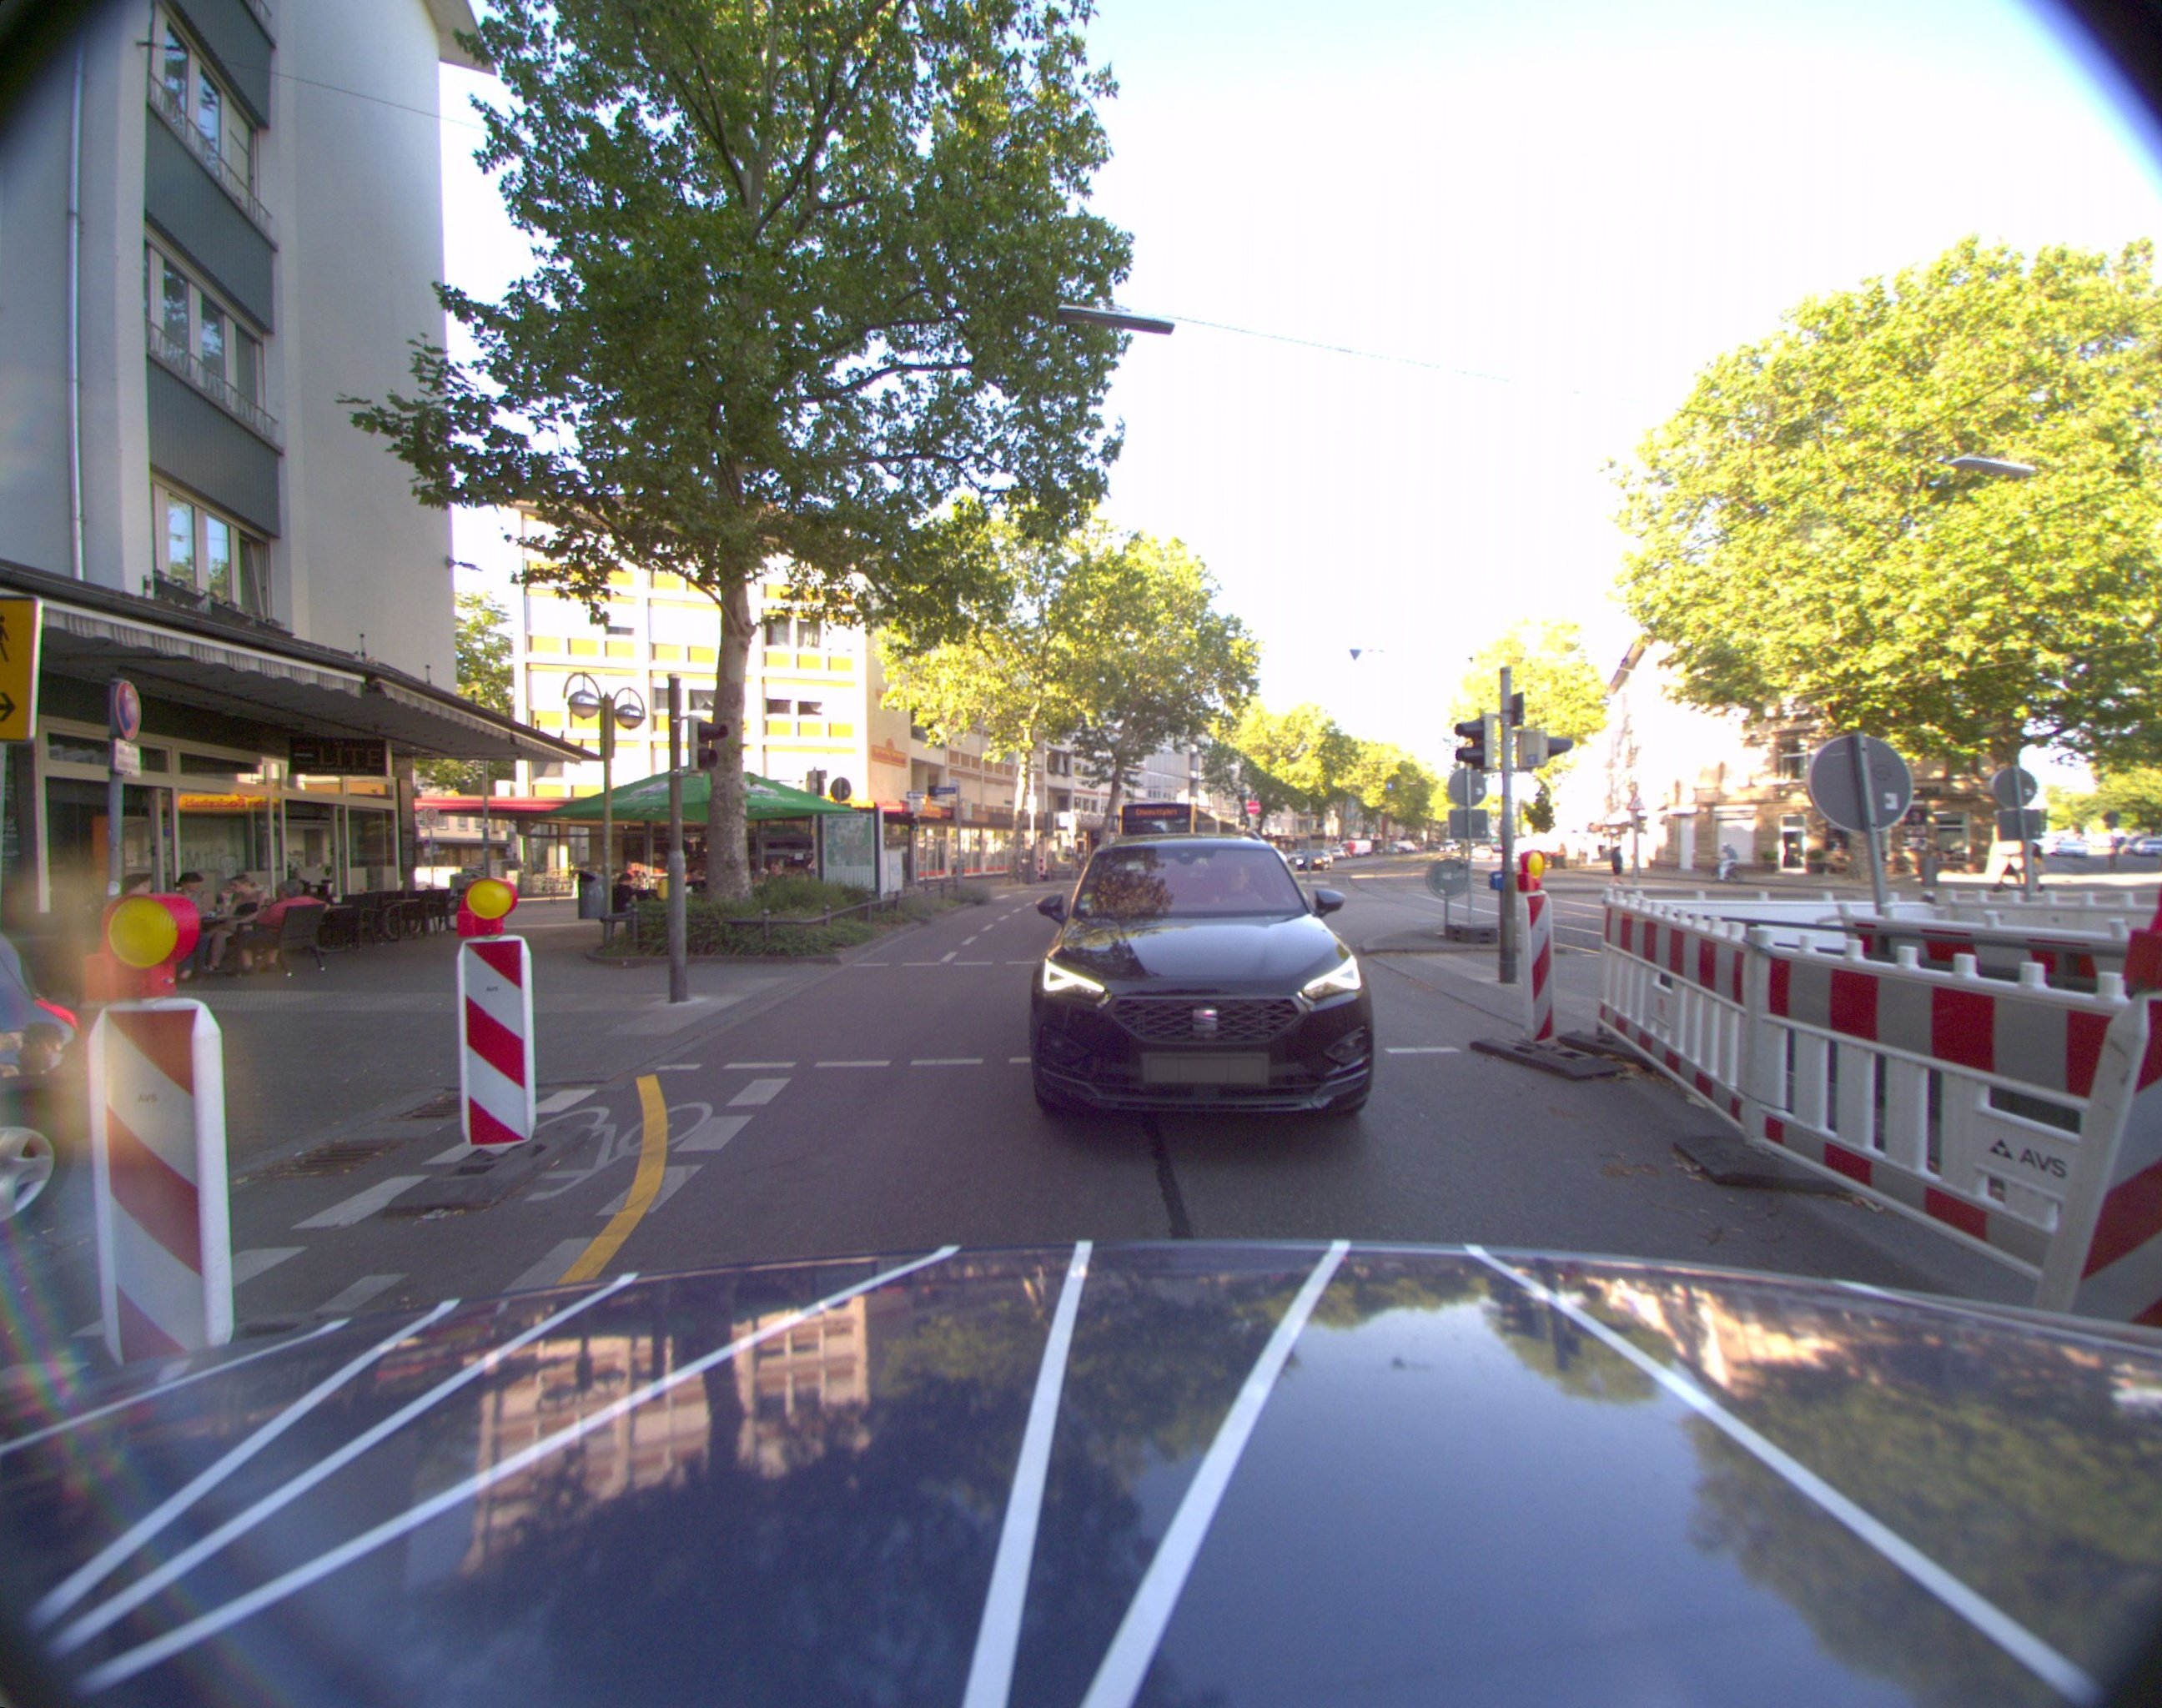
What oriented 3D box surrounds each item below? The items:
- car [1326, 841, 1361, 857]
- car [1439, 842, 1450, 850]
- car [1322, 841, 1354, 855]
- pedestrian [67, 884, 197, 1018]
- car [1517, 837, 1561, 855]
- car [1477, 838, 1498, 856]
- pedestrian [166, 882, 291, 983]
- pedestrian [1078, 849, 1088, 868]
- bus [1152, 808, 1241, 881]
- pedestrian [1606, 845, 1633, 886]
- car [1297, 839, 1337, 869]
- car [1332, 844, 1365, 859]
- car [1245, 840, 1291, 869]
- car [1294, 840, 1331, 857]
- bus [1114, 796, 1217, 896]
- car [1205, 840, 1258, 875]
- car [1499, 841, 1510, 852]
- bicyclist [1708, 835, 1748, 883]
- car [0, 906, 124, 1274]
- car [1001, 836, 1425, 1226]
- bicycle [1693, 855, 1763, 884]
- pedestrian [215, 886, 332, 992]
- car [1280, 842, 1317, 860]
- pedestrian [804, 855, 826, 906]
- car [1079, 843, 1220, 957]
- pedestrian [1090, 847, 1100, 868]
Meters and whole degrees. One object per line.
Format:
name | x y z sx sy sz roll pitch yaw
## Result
car | 33.973 -0.672 98.325 3.994 2.002 2.001 -1 1 8
car | 79.377 -1.700 165.774 1.836 1.692 4.138 0 1 31
car | 36.426 -0.844 107.603 3.994 2.002 2.001 -1 1 8
pedestrian | -10.093 0.986 8.090 0.789 1.299 0.701 0 1 28
car | 52.361 -0.959 86.879 4.001 2.002 1.997 -1 1 -13
car | 45.494 -0.792 84.981 1.994 2.002 4.007 0 1 29
pedestrian | -10.746 0.971 9.607 0.647 1.186 0.792 0 1 7
pedestrian | 0.143 0.349 57.464 0.627 1.429 0.532 0 1 20
bus | 5.802 -0.435 36.732 2.717 3.088 8.608 0 1 19
pedestrian | 20.299 0.430 28.652 0.603 1.524 0.745 0 1 12
car | 16.549 -0.036 53.223 1.995 2.002 4.007 0 1 27
car | 36.328 -0.366 103.212 3.994 2.002 2.001 -1 1 8
car | 13.547 0.024 54.922 1.994 2.002 4.008 0 1 33
car | 28.255 -0.687 92.723 3.994 2.002 2.001 -1 1 8
bus | 3.390 -0.286 28.109 2.718 3.088 8.629 0 1 13
car | 9.123 0.154 45.884 1.995 2.002 4.105 0 1 29
car | 77.803 -1.378 139.630 1.686 1.841 4.007 0 1 29
bicyclist | 27.659 0.215 32.489 0.855 2.002 0.983 -1 1 0
car | -5.232 0.967 1.651 1.771 1.459 3.610 2 0 -2
car | 0.605 0.760 5.320 1.841 1.696 4.000 -1 1 1
bicycle | 27.659 0.647 32.534 0.851 1.186 2.465 -1 1 -1
pedestrian | -9.883 1.004 9.315 0.877 1.186 0.701 0 1 24
car | 24.384 -0.372 85.119 3.991 2.002 2.003 0 1 18
pedestrian | -8.585 0.835 24.537 0.629 1.628 0.531 -1 1 -15
car | 1.011 0.642 12.953 1.998 1.634 4.075 -1 1 1
pedestrian | 1.070 0.239 57.010 0.627 1.577 0.532 0 1 20
